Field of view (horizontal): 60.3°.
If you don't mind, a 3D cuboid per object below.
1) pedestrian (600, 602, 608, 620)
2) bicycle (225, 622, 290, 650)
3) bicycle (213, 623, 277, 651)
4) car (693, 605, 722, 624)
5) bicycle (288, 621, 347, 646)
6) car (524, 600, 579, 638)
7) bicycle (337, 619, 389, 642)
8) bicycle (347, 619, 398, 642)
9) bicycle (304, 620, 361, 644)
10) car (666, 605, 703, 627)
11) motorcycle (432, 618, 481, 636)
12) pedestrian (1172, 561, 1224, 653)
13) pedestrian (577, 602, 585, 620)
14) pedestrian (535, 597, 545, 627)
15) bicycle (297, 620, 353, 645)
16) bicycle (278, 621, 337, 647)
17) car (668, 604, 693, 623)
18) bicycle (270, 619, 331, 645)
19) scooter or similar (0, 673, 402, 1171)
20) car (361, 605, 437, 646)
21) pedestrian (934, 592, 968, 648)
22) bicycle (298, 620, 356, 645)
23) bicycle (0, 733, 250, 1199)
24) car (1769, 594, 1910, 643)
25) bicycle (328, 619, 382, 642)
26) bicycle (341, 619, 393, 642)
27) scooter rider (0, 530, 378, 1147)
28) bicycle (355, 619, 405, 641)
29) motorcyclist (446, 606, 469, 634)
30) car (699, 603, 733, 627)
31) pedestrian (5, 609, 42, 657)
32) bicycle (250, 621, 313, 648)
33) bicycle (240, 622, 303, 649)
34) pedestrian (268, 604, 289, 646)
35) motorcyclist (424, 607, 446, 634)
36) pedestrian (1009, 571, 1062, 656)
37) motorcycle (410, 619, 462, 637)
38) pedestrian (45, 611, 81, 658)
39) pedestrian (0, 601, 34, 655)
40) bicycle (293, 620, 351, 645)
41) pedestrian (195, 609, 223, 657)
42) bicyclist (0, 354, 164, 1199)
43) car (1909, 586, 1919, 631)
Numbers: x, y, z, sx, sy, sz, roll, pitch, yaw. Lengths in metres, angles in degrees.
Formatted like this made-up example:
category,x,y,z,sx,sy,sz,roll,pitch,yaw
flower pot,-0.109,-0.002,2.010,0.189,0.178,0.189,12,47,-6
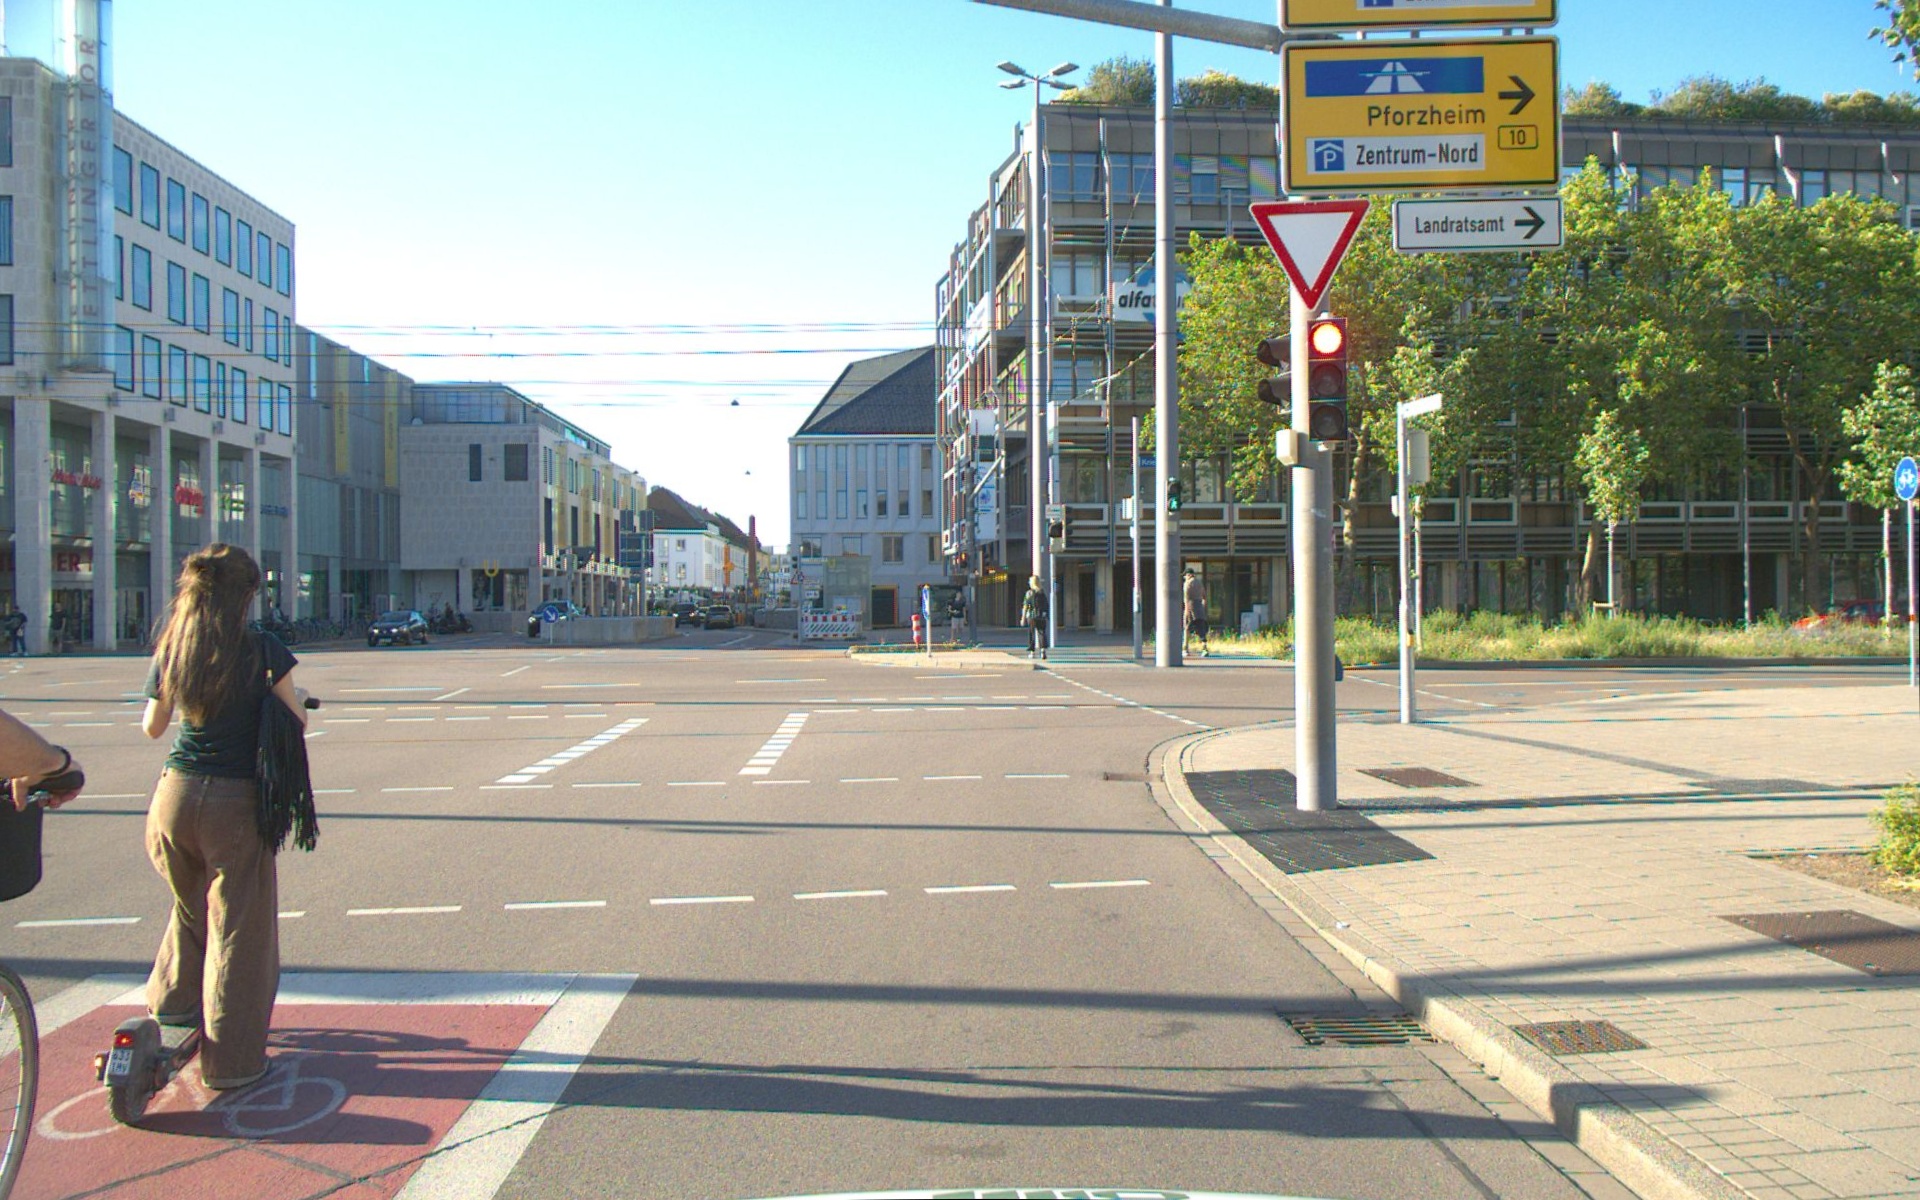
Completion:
category,x,y,z,sx,sy,sz,roll,pitch,yaw
pedestrian,-28.263,0.857,131.328,0.479,1.380,0.563,1,-1,-7
bicycle,-29.480,1.521,69.446,2.417,1.130,0.684,-1,0,-1
bicycle,-29.434,1.513,68.101,2.354,1.132,0.658,-1,0,-1
car,-23.821,1.352,156.222,2.130,1.722,5.613,0,-1,-2
bicycle,-29.599,1.532,76.194,2.417,1.130,0.684,-1,0,0
car,-19.334,0.880,78.413,1.900,1.707,4.289,-1,0,-5
bicycle,-30.394,1.547,84.216,2.417,1.130,0.660,-1,0,0
bicycle,-30.388,1.566,85.597,2.417,1.130,0.631,-1,0,0
bicycle,-30.344,1.534,79.987,2.417,1.130,0.835,-1,0,0
car,-21.952,1.308,132.145,2.130,1.722,5.485,0,-1,-1
motorcycle,-29.609,1.606,97.334,2.617,1.013,0.915,1,0,-8
pedestrian,4.666,0.131,32.463,0.839,1.774,0.738,-1,1,-9
pedestrian,-28.622,0.824,124.985,0.479,1.380,0.563,1,-1,-7
pedestrian,-29.437,0.853,115.865,0.606,2.049,0.476,1,-1,-16
bicycle,-30.232,1.530,78.738,2.417,1.130,0.684,-1,0,0
bicycle,-29.570,1.526,74.969,2.417,1.130,0.593,-1,0,0
car,-29.123,1.447,172.469,2.131,1.906,5.609,0,-1,-5
bicycle,-29.259,1.408,73.415,2.417,1.130,0.684,-1,0,0
scooter or similar,-2.204,0.852,4.963,0.629,1.196,1.482,1,0,-4
car,-23.577,1.048,69.662,1.899,1.608,4.292,-1,0,-3
pedestrian,-0.311,0.681,57.348,0.990,1.944,1.052,0,0,9
bicycle,-29.759,1.529,77.779,2.417,1.130,0.835,-1,0,0
bicycle,-1.965,0.872,2.931,0.692,1.113,1.799,-1,0,-2
car,29.846,0.633,56.209,3.791,1.512,1.844,-1,-3,-5
bicycle,-30.462,1.549,83.326,2.417,1.130,0.835,-1,0,0
bicycle,-30.416,1.557,84.917,2.417,1.130,0.660,-1,0,0
scooter rider,-2.178,0.609,4.792,0.629,1.571,1.116,1,0,-4
bicycle,-30.427,1.559,86.794,2.417,1.130,0.660,-1,0,0
motorcyclist,-29.579,1.173,97.353,1.115,1.602,0.915,1,-1,-8
car,-15.895,0.983,108.014,1.898,1.475,4.258,0,-1,-4
pedestrian,-32.941,1.158,58.162,0.998,1.680,0.935,0,0,-39
bicycle,-29.379,1.510,71.622,2.417,1.130,0.684,-1,0,0
bicycle,-29.459,1.518,70.812,2.416,1.130,0.684,-1,0,1
pedestrian,-33.337,1.208,80.896,0.933,2.017,1.000,0,0,-25
motorcyclist,-29.808,1.182,93.865,1.017,1.497,0.915,1,0,-8
pedestrian,1.440,0.247,31.714,0.879,1.576,0.922,-1,1,-7
motorcycle,-29.736,1.589,93.884,2.617,1.013,0.915,1,0,-8
pedestrian,-31.122,1.199,57.383,0.938,1.598,0.829,0,0,-42
pedestrian,-35.844,1.063,62.831,0.898,2.049,1.020,0,0,-13
bicycle,-29.674,1.526,76.968,2.417,1.130,0.684,-1,0,0
pedestrian,-27.927,1.213,61.527,0.736,1.770,0.756,0,0,-3
bicyclist,-1.977,0.434,3.004,0.685,1.698,0.786,-1,0,-3
car,38.423,0.325,62.022,4.764,1.709,1.996,0,1,-10
